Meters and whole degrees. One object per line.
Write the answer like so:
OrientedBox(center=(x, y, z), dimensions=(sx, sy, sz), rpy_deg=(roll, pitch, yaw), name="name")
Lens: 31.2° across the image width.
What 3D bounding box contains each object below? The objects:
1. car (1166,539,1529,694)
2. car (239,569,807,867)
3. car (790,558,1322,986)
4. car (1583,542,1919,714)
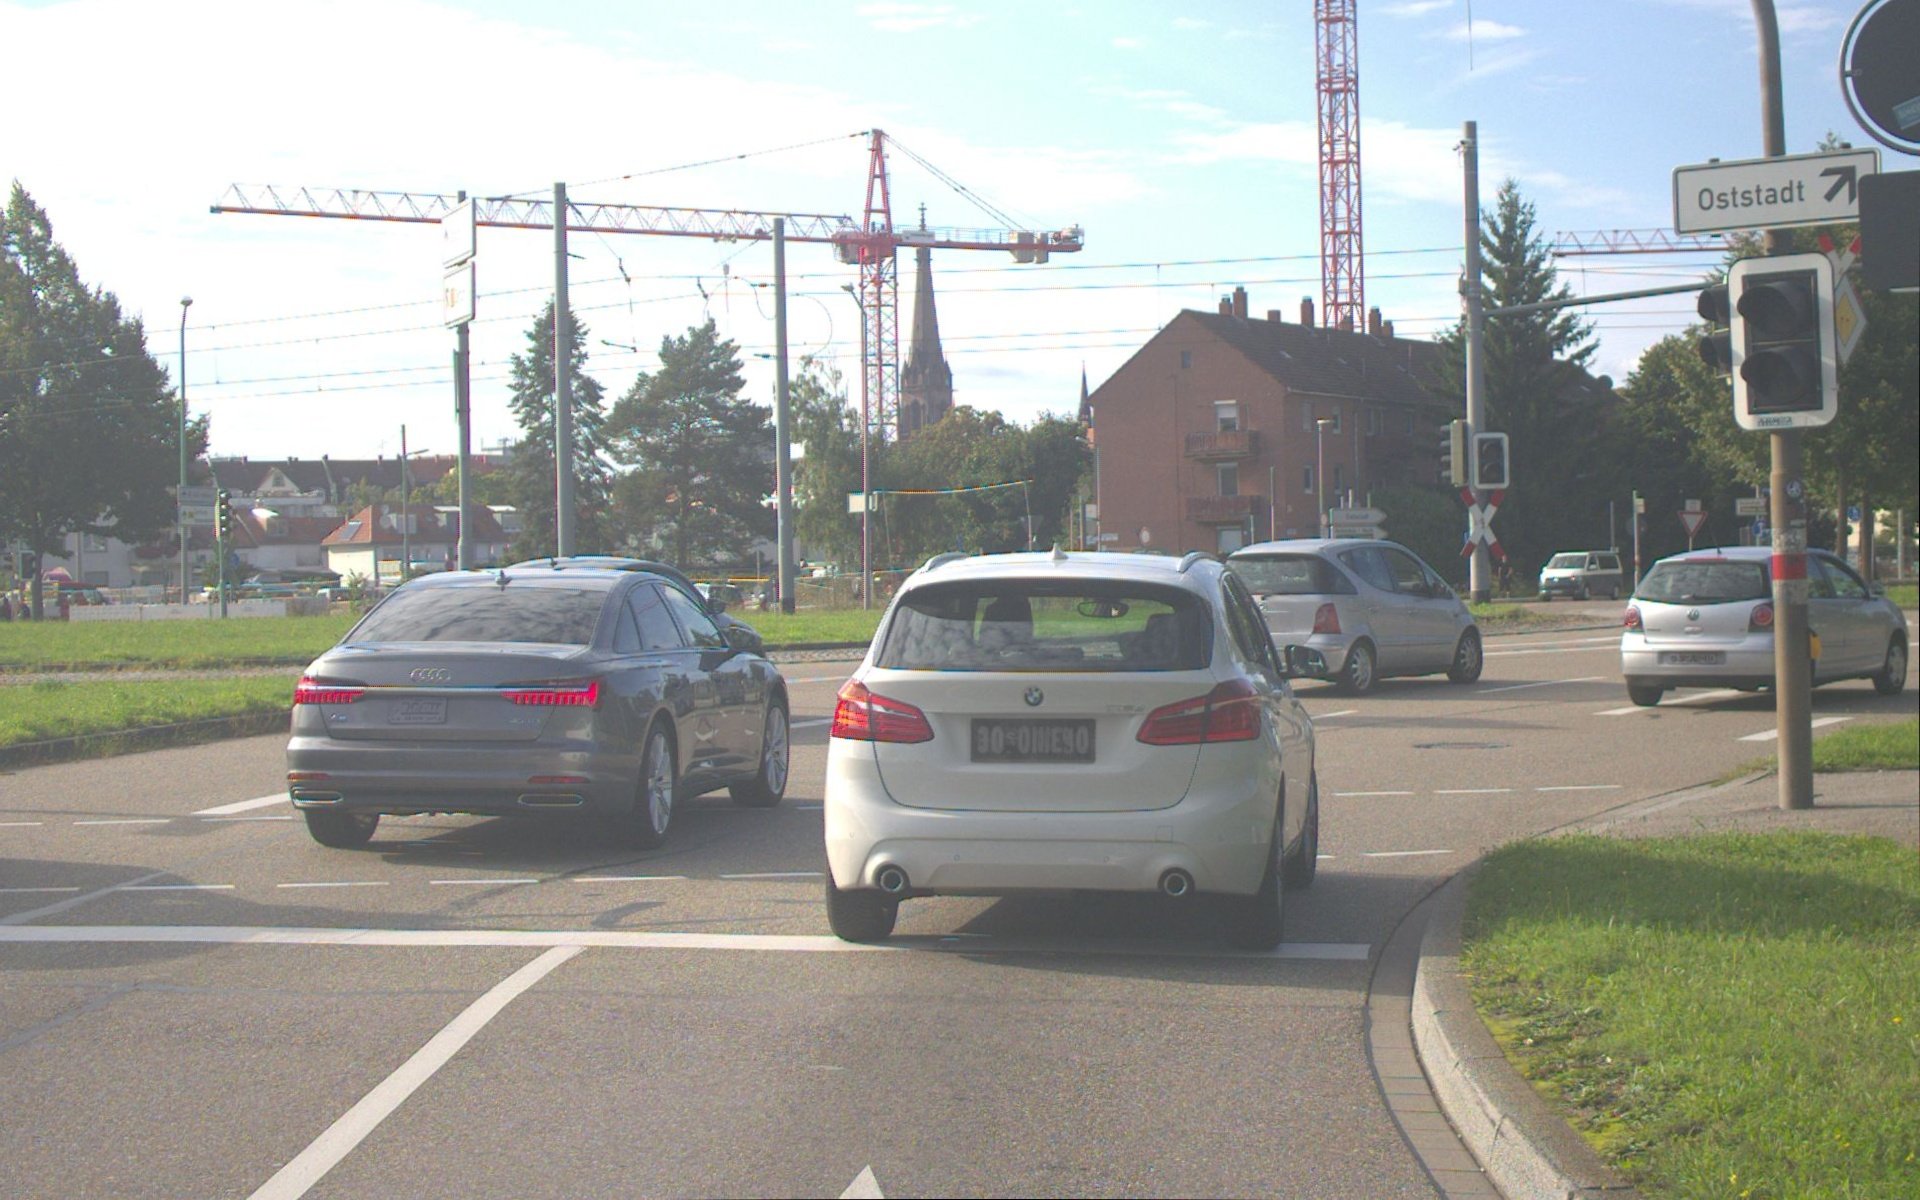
OrientedBox(center=(4.075, 0.123, 35.499), dimensions=(1.854, 1.473, 4.446), rpy_deg=(0, 1, 34), name="car")
OrientedBox(center=(-2.250, 0.554, 19.102), dimensions=(1.851, 1.440, 4.713), rpy_deg=(0, 0, 10), name="car")
OrientedBox(center=(0.578, 0.612, 14.902), dimensions=(1.851, 1.567, 4.453), rpy_deg=(0, 0, 8), name="car")
OrientedBox(center=(7.683, 0.208, 32.504), dimensions=(1.854, 1.421, 4.446), rpy_deg=(1, 2, 35), name="car")
